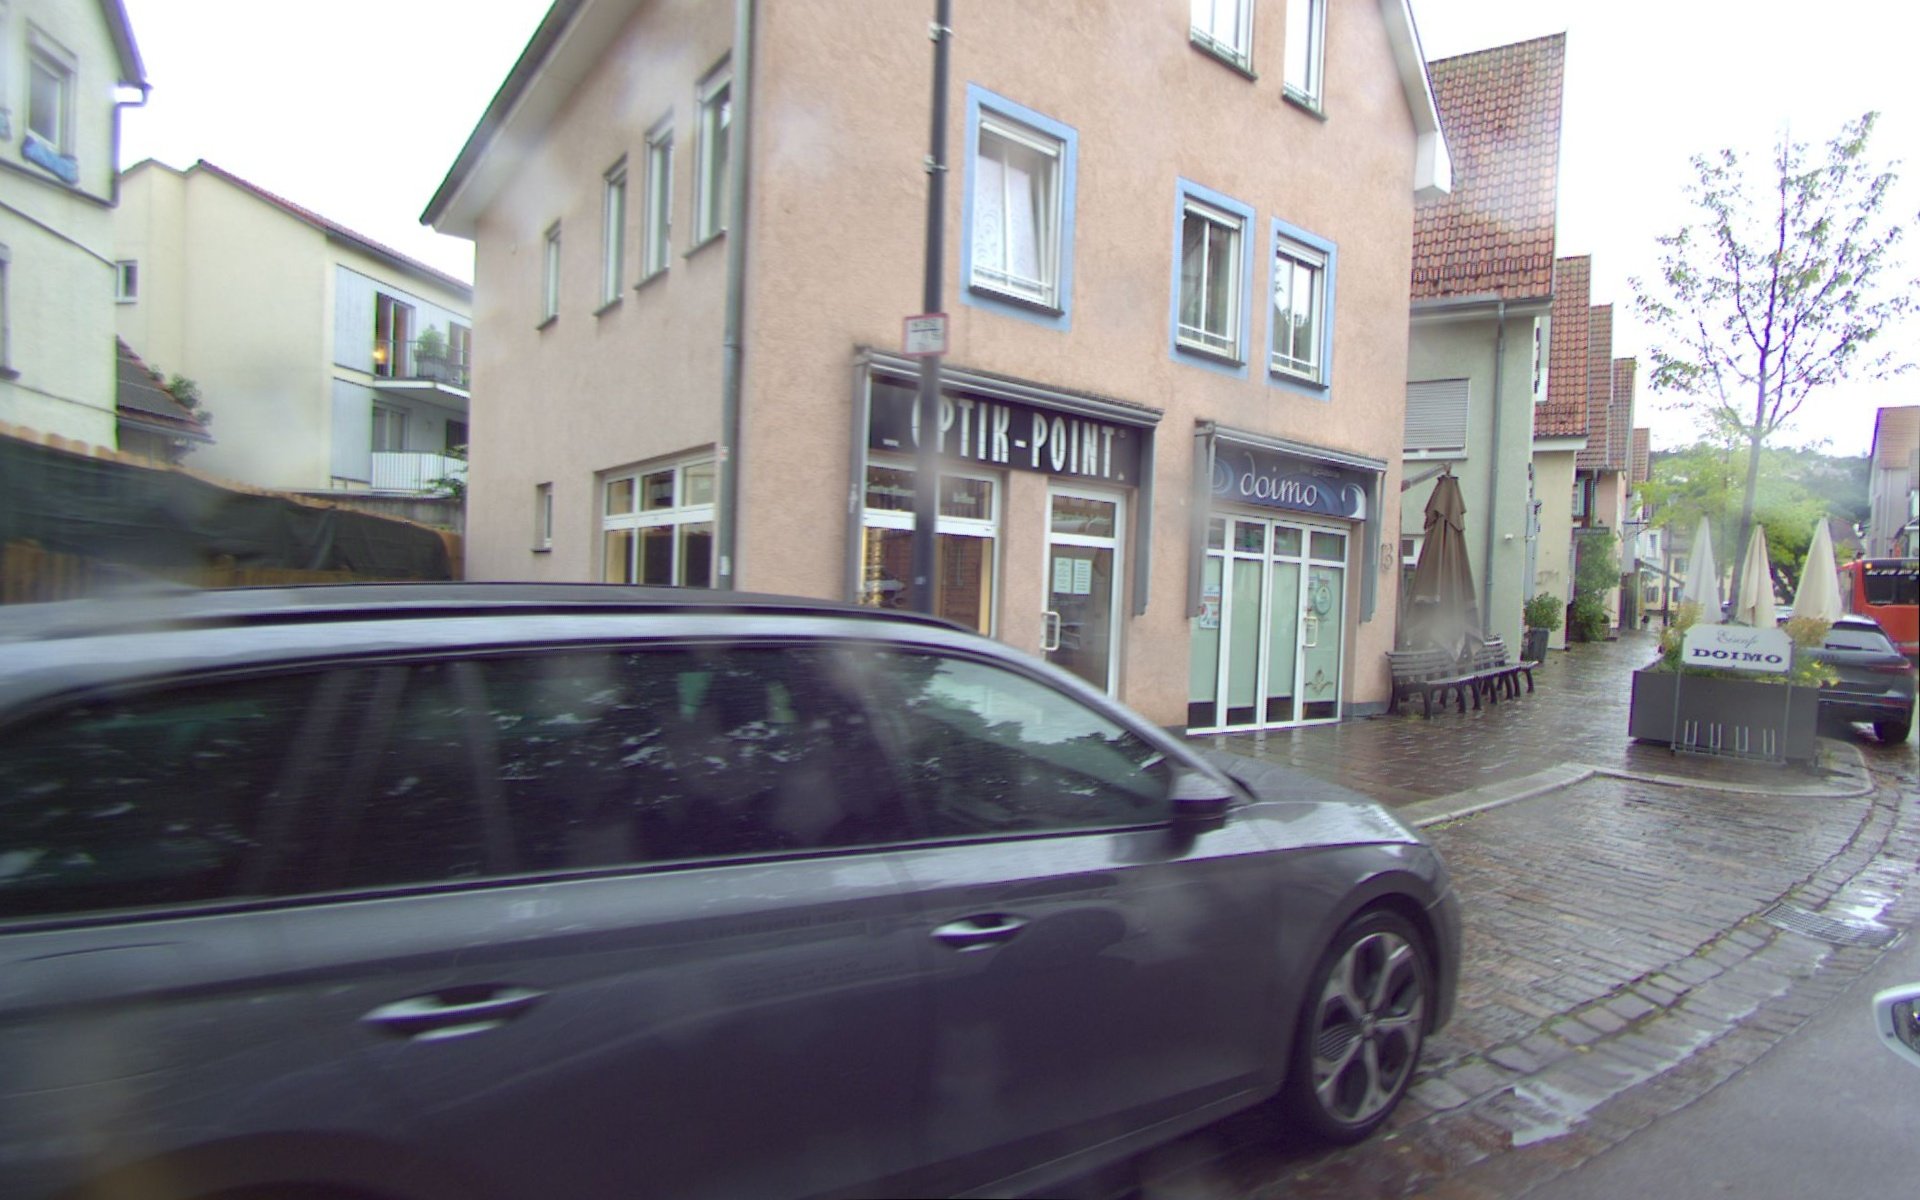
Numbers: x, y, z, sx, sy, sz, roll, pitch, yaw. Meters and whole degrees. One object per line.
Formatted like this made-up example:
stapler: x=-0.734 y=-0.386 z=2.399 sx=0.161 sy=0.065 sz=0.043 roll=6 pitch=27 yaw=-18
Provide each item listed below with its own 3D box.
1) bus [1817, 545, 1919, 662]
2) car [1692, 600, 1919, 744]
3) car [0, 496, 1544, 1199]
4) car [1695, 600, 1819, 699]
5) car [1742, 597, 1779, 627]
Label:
bus: x=28.407 y=0.179 z=30.824 sx=2.607 sy=3.270 sz=6.579 roll=2 pitch=0 yaw=36
car: x=11.127 y=0.794 z=13.429 sx=1.776 sy=1.452 sz=4.615 roll=5 pitch=3 yaw=32
car: x=-0.482 y=0.652 z=2.814 sx=4.329 sy=1.474 sz=1.981 roll=2 pitch=0 yaw=-34
car: x=14.421 y=0.857 z=18.256 sx=1.573 sy=1.566 sz=3.961 roll=2 pitch=0 yaw=38
car: x=57.840 y=0.909 z=72.586 sx=1.969 sy=2.040 sz=3.983 roll=2 pitch=0 yaw=39
